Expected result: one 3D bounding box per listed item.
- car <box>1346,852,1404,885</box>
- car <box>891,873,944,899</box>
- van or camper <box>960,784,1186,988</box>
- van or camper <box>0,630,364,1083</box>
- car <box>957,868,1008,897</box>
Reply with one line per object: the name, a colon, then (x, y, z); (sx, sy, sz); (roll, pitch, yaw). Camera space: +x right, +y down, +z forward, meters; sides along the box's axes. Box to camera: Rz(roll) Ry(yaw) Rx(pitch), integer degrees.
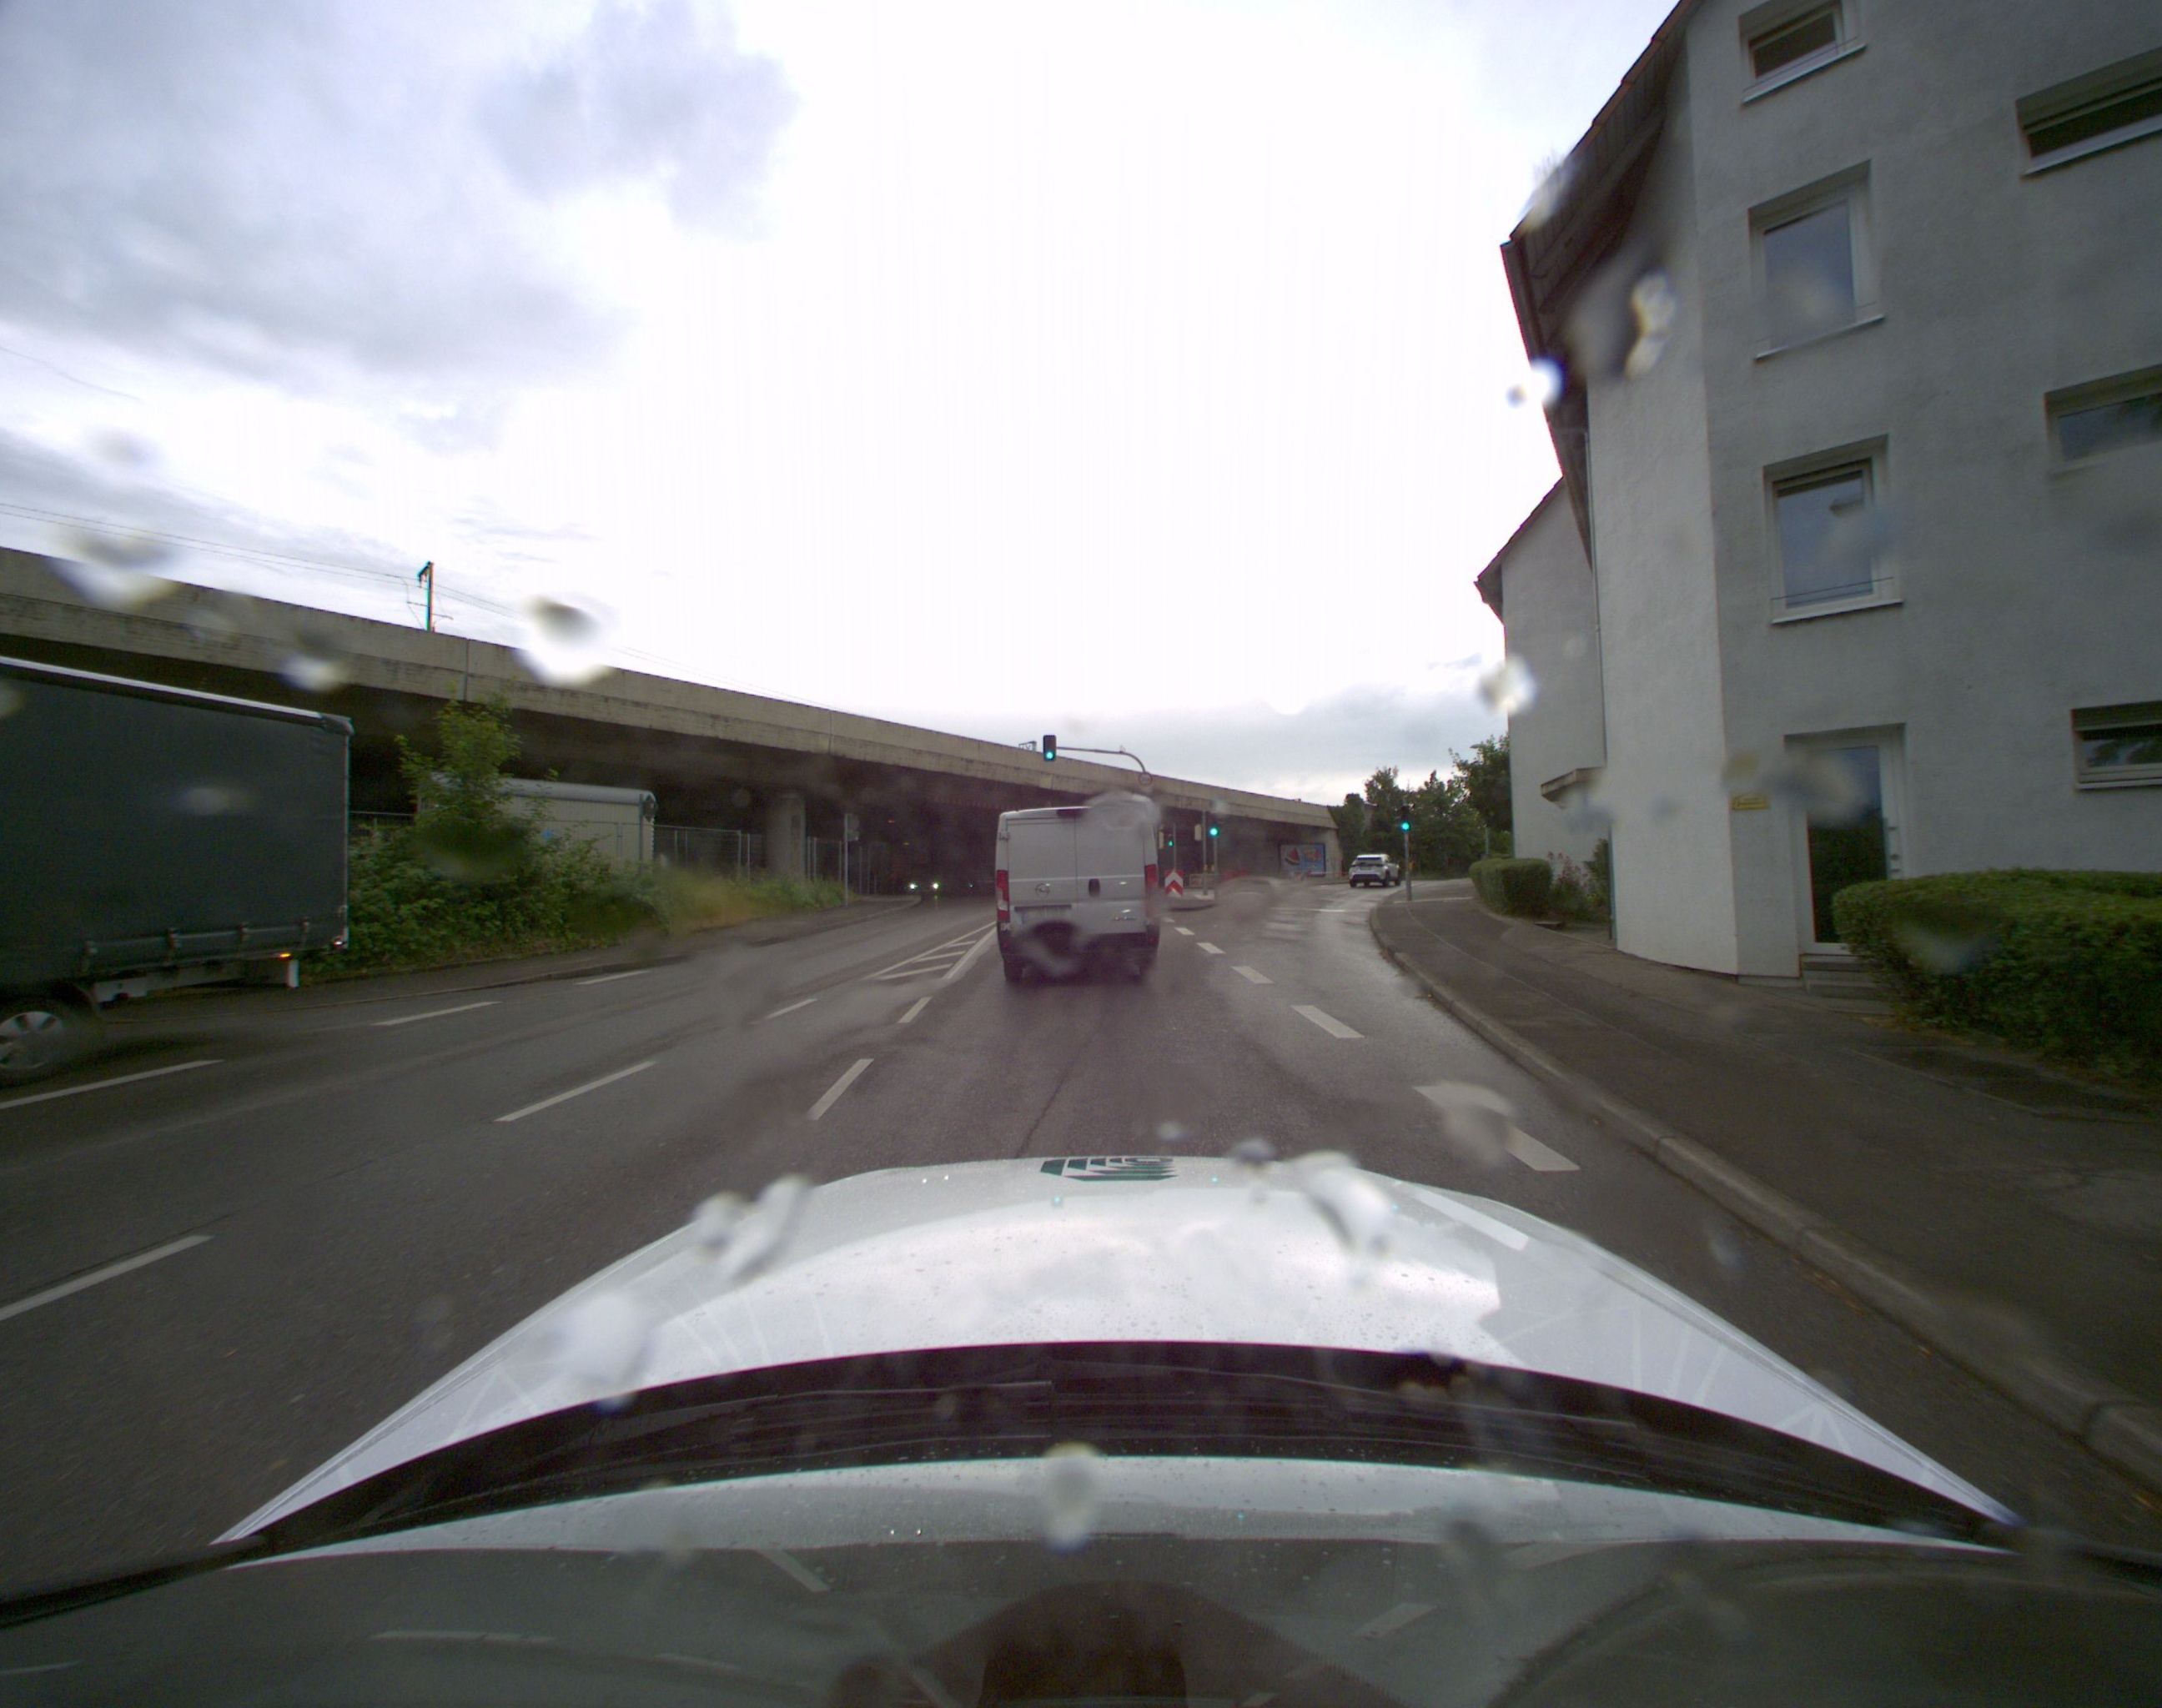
car: (14.287, 0.671, 39.474); (1.857, 1.530, 4.025); (-1, -1, 32)
car: (-10.598, 2.002, 52.477); (2.006, 1.530, 4.456); (0, -1, -30)
van or camper: (-0.103, 0.406, 12.287); (2.690, 2.417, 4.902); (-1, -1, 0)
van or camper: (-9.329, 0.023, 5.049); (2.688, 3.335, 7.765); (-1, -1, 2)
car: (-6.307, 1.795, 52.031); (2.004, 1.750, 3.965); (-1, -1, -27)
